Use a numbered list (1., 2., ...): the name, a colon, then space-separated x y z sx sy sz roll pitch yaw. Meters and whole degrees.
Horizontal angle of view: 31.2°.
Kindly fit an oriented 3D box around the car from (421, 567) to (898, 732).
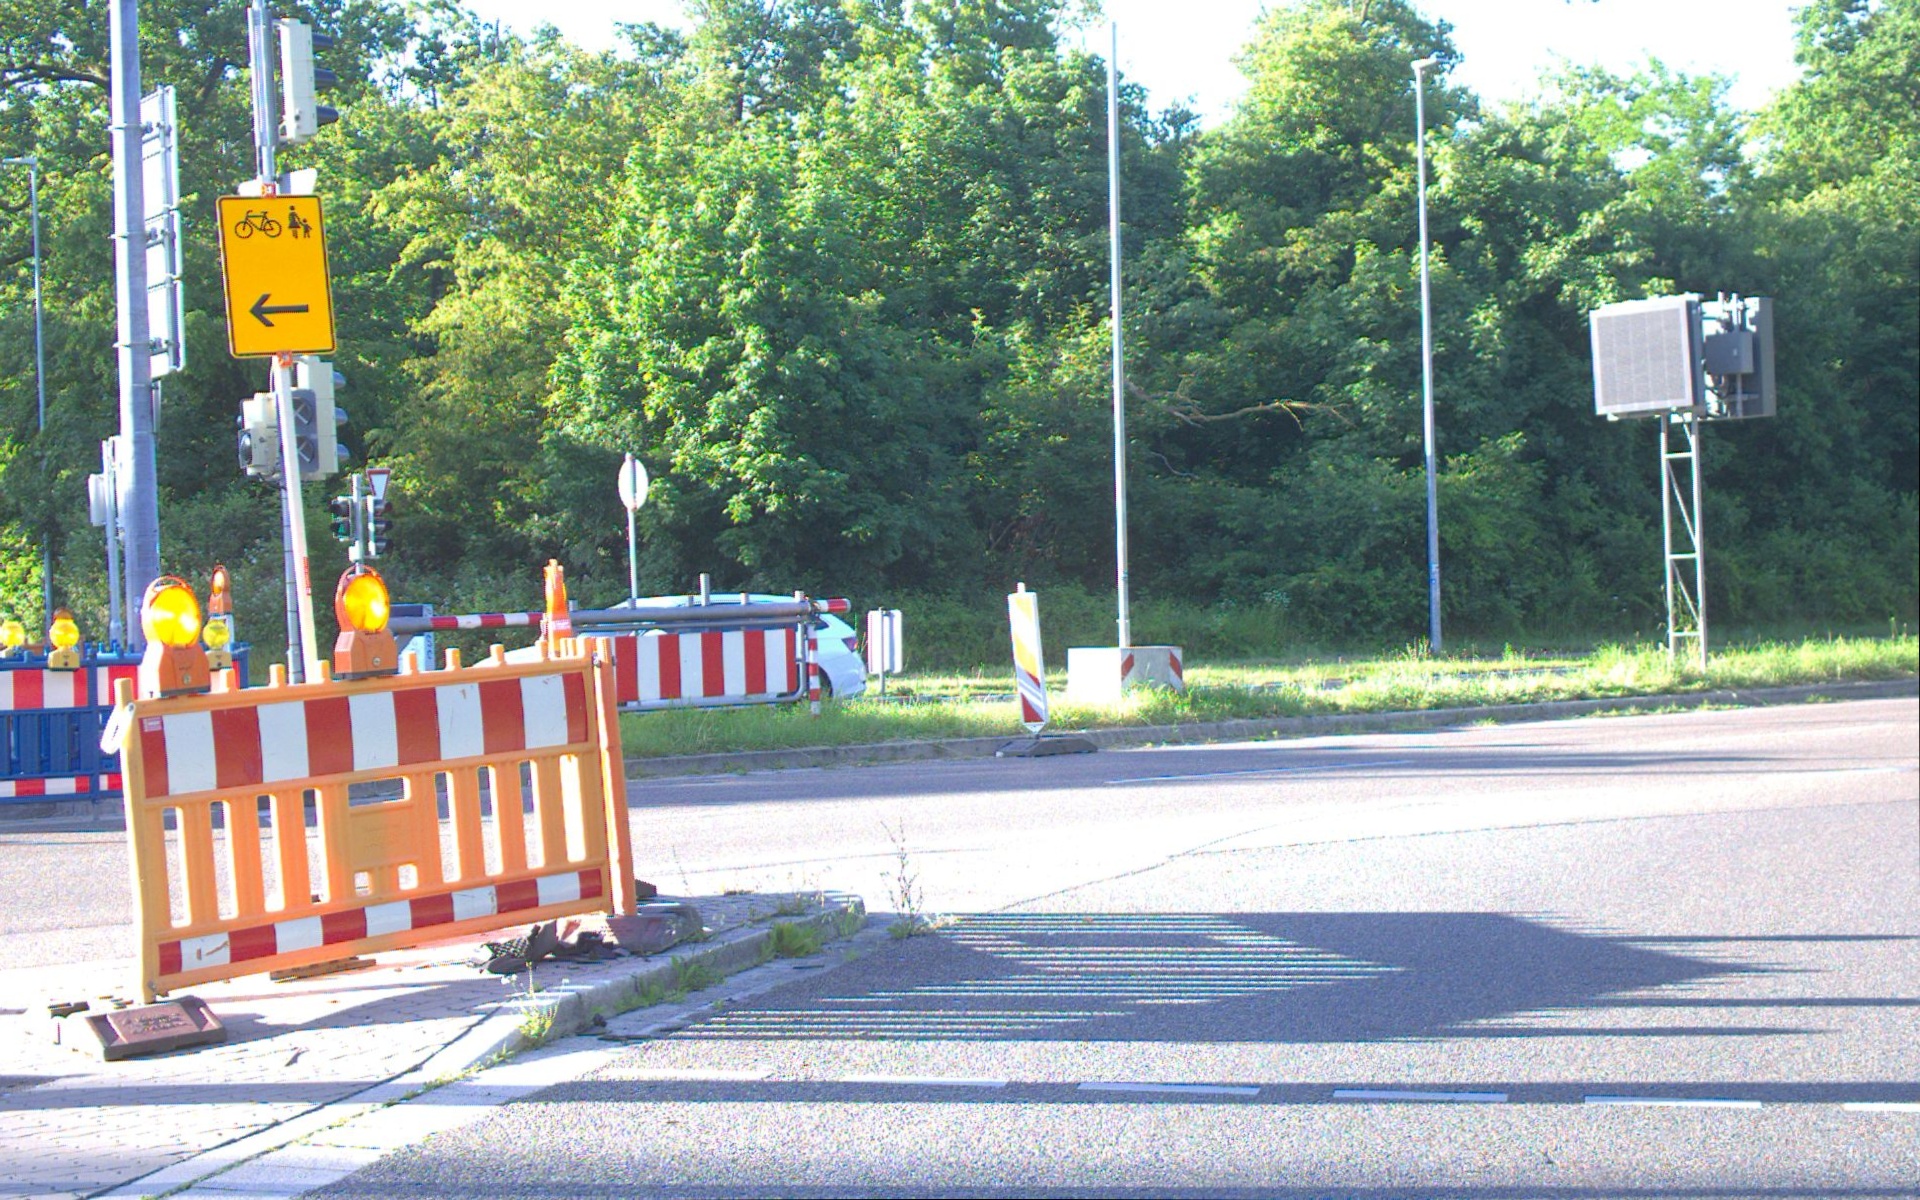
1. car: -3.206 0.500 37.272 4.819 1.575 1.999 -2 0 -39
